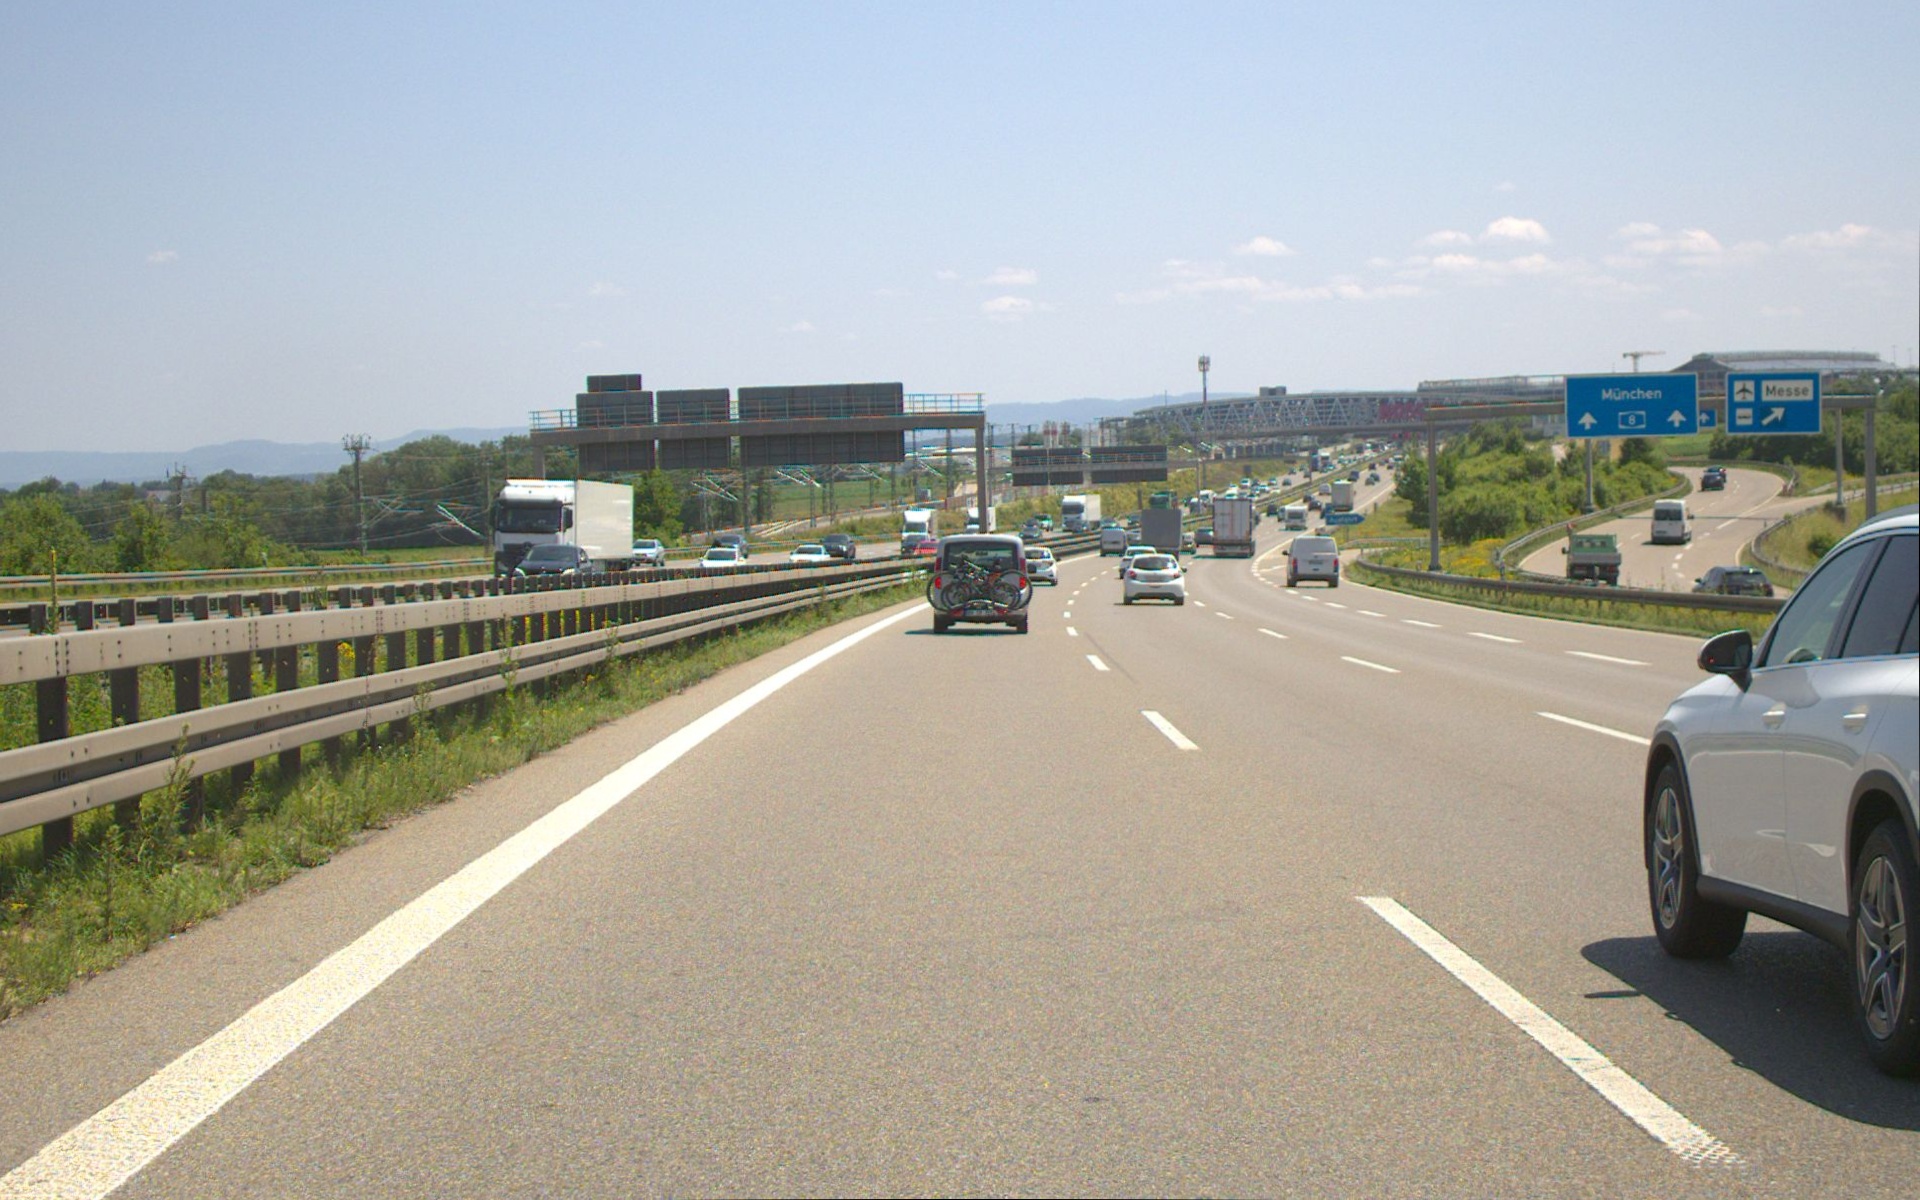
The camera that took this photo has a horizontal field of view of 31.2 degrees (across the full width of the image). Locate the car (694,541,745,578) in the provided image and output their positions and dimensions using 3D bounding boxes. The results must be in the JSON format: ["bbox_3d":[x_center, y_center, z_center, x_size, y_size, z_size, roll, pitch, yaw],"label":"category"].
[{"bbox_3d":[-10.064,-1.701,143.947,1.741,1.483,4.008,1,1,1],"label":"car"}]

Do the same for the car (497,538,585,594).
[{"bbox_3d":[-12.526,-1.040,103.007,1.993,1.639,4.664,0,1,1],"label":"car"}]

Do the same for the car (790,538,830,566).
[{"bbox_3d":[-7.742,-2.475,177.554,1.657,1.398,4.759,1,1,2],"label":"car"}]

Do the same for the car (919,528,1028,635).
[{"bbox_3d":[0.294,-0.354,64.253,1.927,1.912,4.948,0,1,1],"label":"car"}]

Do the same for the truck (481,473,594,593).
[{"bbox_3d":[-15.266,-2.418,124.615,3.035,4.226,6.684,1,1,2],"label":"truck"}]

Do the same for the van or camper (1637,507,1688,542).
[{"bbox_3d":[41.176,-4.425,201.666,2.529,2.007,4.460,0,1,7],"label":"van or camper"}]

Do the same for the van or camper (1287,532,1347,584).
[{"bbox_3d":[13.939,-1.631,134.415,2.156,2.007,4.304,0,1,4],"label":"van or camper"}]

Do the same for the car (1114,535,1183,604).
[{"bbox_3d":[5.424,-0.887,99.223,1.927,1.912,4.517,0,1,2],"label":"car"}]

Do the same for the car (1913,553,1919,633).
[{"bbox_3d":[23.893,-0.152,80.826,1.939,1.917,4.179,0,1,2],"label":"car"}]

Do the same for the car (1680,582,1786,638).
[{"bbox_3d":[22.576,0.275,100.534,1.993,1.590,4.001,0,1,-3],"label":"car"}]

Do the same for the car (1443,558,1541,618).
[{"bbox_3d":[15.297,-0.350,98.995,1.993,1.684,4.001,0,1,-3],"label":"car"}]

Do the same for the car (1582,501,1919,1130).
[{"bbox_3d":[3.440,0.547,11.120,1.898,1.641,4.999,0,1,-1],"label":"car"}]

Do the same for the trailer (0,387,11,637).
[{"bbox_3d":[-17.256,-1.374,50.866,2.890,4.099,12.586,1,1,0],"label":"trailer"}]

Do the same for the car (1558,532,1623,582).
[{"bbox_3d":[26.174,-1.776,142.834,1.993,2.007,4.000,0,1,1],"label":"car"}]

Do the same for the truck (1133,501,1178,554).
[{"bbox_3d":[12.105,-4.451,212.623,2.703,3.098,10.658,0,1,4],"label":"truck"}]

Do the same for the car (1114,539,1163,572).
[{"bbox_3d":[8.113,-2.034,155.840,1.982,1.468,3.999,0,1,7],"label":"car"}]

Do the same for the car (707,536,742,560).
[{"bbox_3d":[-15.400,-3.417,225.334,1.847,1.526,4.223,1,1,2],"label":"car"}]

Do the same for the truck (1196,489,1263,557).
[{"bbox_3d":[18.324,-5.284,233.122,4.040,4.247,11.755,0,3,7],"label":"truck"}]

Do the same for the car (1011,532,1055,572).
[{"bbox_3d":[2.872,-1.869,134.905,1.576,1.547,3.963,0,1,3],"label":"car"}]

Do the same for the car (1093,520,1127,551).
[{"bbox_3d":[10.138,-4.393,232.910,2.186,1.996,4.000,0,3,4],"label":"car"}]

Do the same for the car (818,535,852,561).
[{"bbox_3d":[-7.975,-3.334,219.552,1.847,1.650,4.910,1,1,2],"label":"car"}]

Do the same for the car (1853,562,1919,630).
[{"bbox_3d":[26.859,-0.129,98.239,1.939,1.917,4.178,0,1,5],"label":"car"}]
